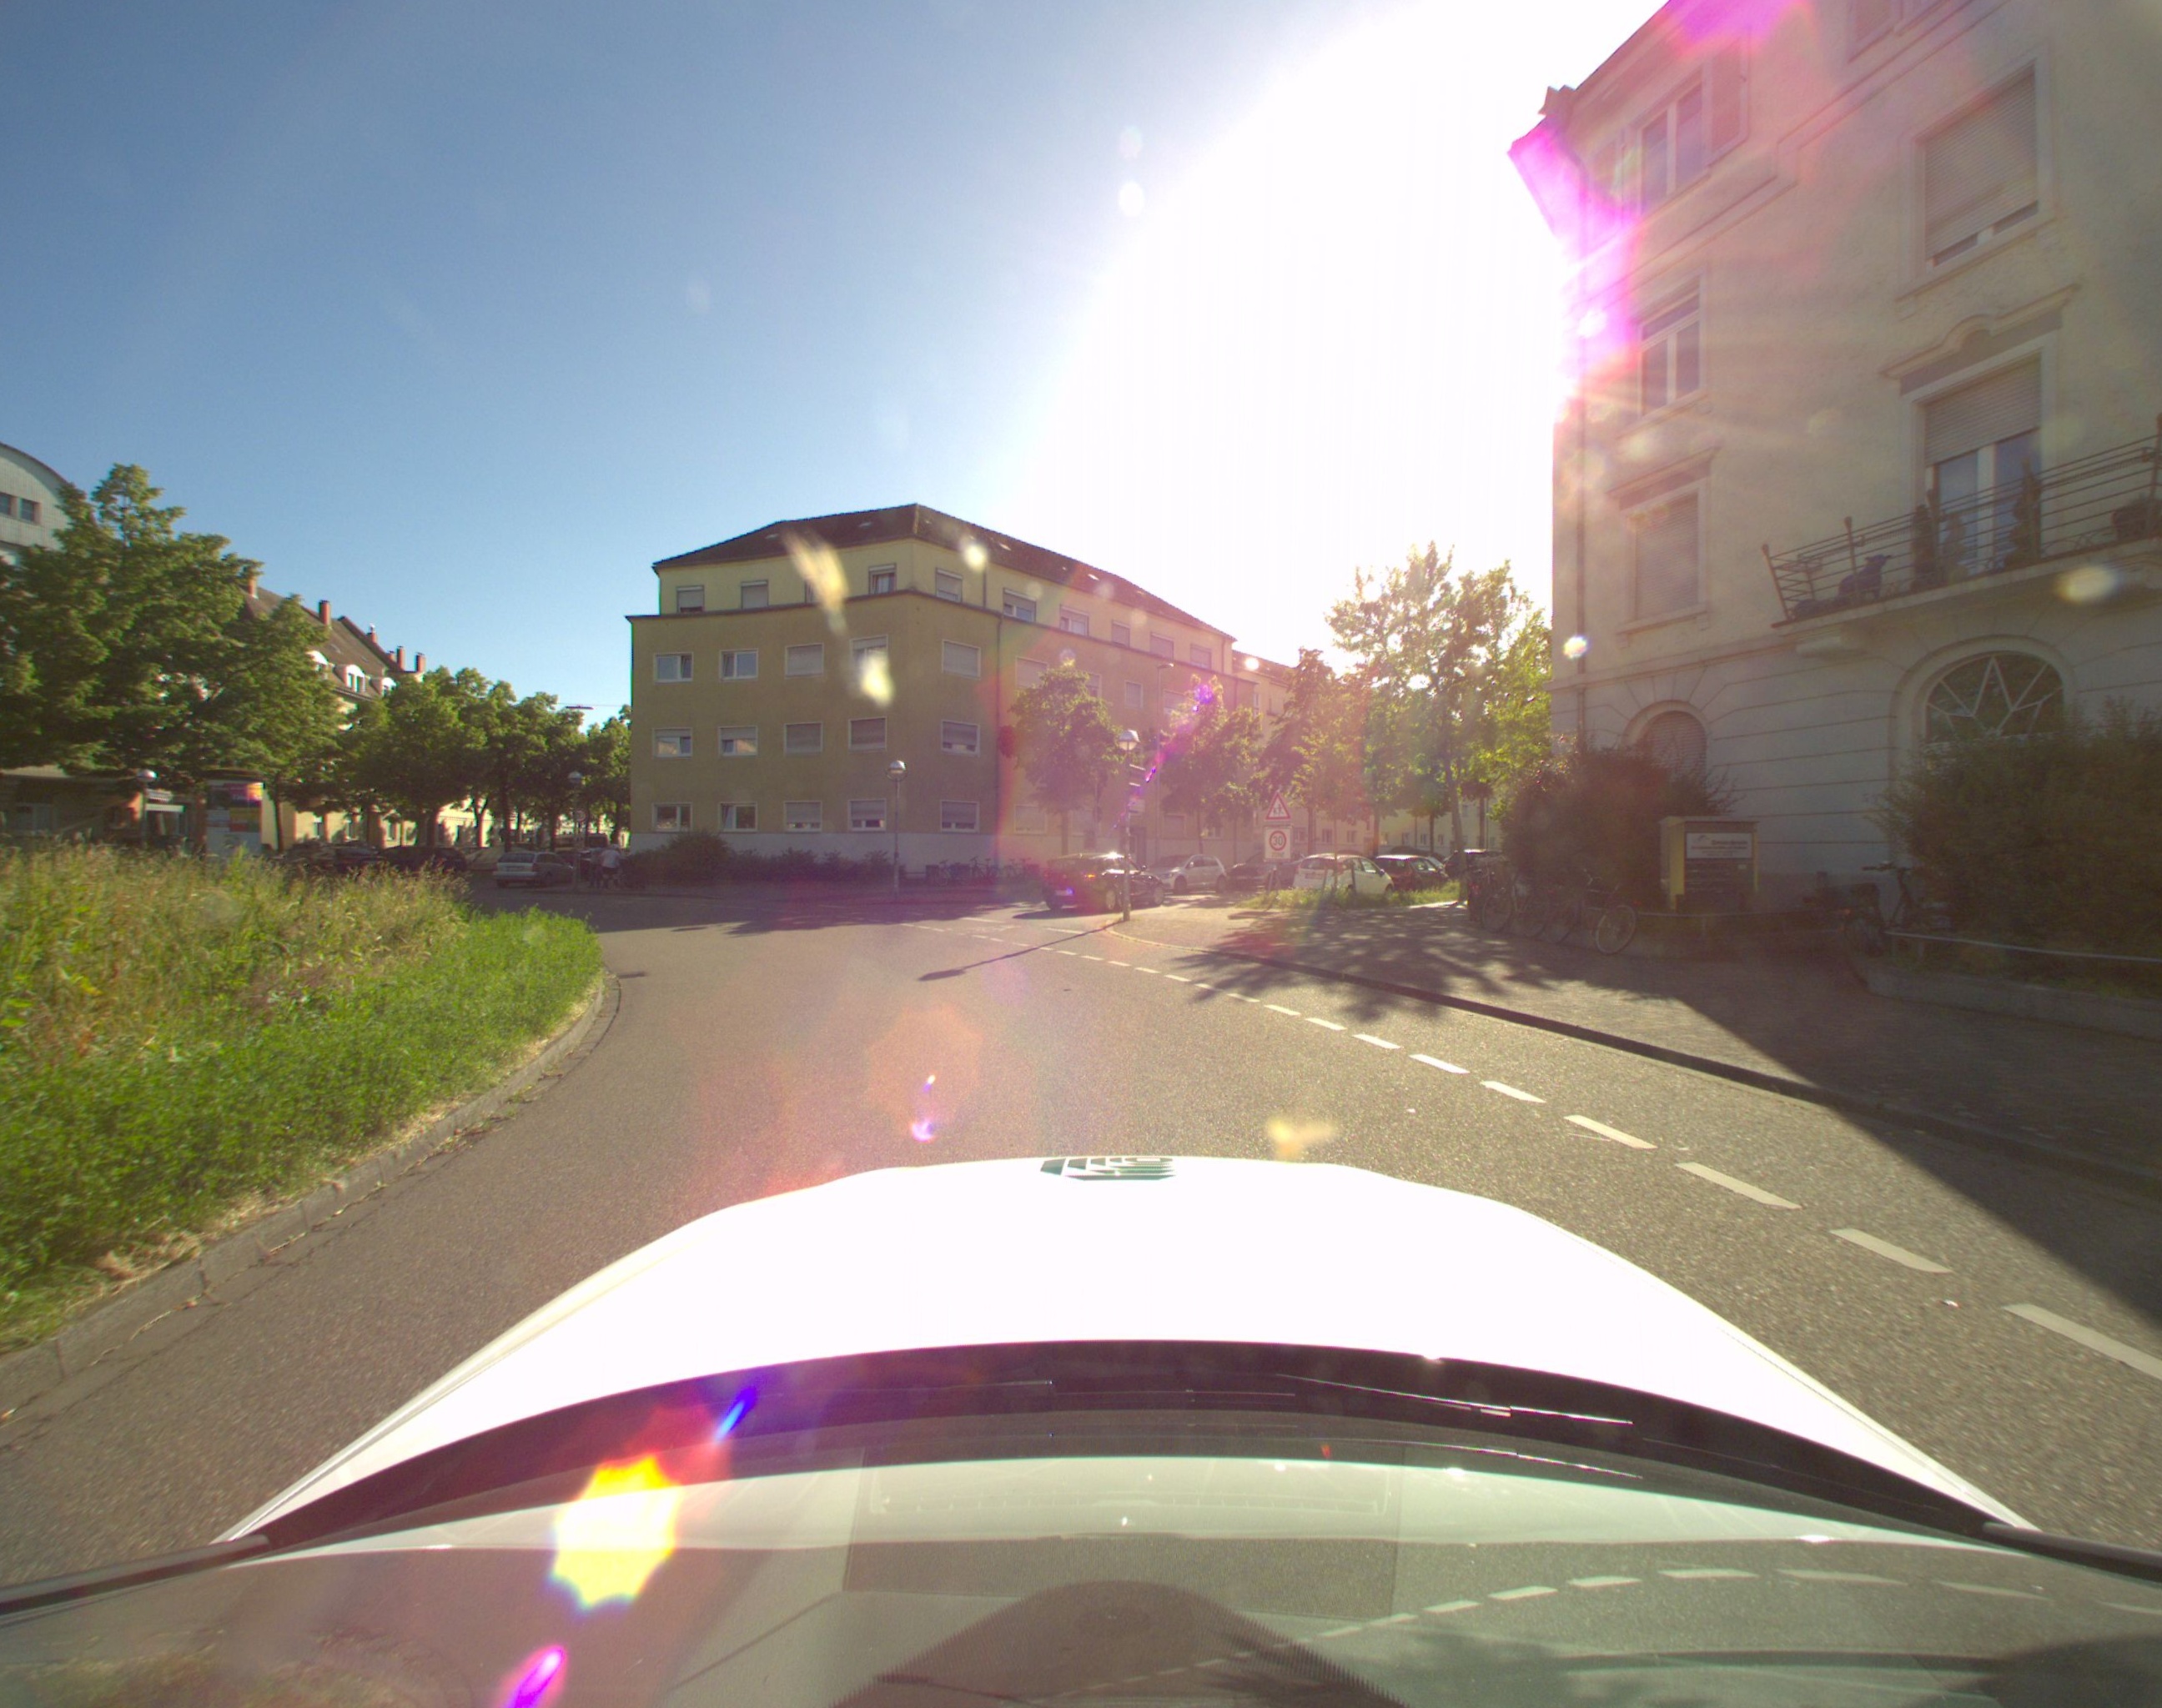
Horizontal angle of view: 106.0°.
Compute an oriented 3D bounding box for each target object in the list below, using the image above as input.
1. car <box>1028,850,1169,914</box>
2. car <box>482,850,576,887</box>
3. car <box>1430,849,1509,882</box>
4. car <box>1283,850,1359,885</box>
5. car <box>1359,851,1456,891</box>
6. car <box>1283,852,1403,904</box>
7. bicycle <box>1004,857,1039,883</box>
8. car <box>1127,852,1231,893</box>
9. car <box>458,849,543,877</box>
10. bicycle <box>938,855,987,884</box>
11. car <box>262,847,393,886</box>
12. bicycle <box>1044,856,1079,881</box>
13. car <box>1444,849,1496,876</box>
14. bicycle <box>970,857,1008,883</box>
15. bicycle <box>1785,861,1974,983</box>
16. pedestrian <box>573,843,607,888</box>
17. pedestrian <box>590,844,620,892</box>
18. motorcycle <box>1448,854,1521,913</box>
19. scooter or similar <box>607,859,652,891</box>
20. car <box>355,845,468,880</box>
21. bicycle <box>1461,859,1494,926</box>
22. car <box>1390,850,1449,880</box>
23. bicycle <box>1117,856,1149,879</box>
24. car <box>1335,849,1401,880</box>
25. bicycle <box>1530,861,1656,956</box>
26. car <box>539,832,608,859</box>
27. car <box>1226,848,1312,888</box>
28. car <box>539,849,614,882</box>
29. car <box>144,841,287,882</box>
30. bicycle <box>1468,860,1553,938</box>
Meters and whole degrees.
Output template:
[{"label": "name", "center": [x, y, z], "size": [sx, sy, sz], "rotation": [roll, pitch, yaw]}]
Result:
[{"label": "car", "center": [0.556, 0.619, 20.761], "size": [1.847, 1.419, 4.025], "rotation": [1, 1, 31]}, {"label": "car", "center": [-22.051, 0.549, 32.735], "size": [1.730, 1.411, 4.466], "rotation": [0, 0, -15]}, {"label": "car", "center": [15.600, 0.437, 32.635], "size": [1.777, 1.255, 3.741], "rotation": [-1, -1, 44]}, {"label": "car", "center": [10.986, 0.605, 37.103], "size": [1.777, 1.510, 4.024], "rotation": [-1, -1, 42]}, {"label": "car", "center": [11.100, 0.535, 27.606], "size": [1.777, 1.255, 3.741], "rotation": [-1, -1, 44]}, {"label": "car", "center": [7.863, 0.670, 24.273], "size": [4.023, 1.413, 1.778], "rotation": [0, 0, -45]}, {"label": "bicycle", "center": [-2.400, 0.621, 32.961], "size": [0.494, 1.026, 1.458], "rotation": [0, 0, 44]}, {"label": "car", "center": [3.633, 0.645, 29.689], "size": [1.781, 1.411, 4.024], "rotation": [0, -1, 42]}, {"label": "car", "center": [-34.292, 0.531, 48.156], "size": [3.669, 1.637, 1.729], "rotation": [0, -1, -7]}, {"label": "bicycle", "center": [-4.474, 0.581, 30.829], "size": [1.796, 1.107, 0.498], "rotation": [0, 0, -14]}, {"label": "car", "center": [-30.951, 0.502, 33.537], "size": [3.663, 1.546, 1.731], "rotation": [0, -1, -2]}, {"label": "bicycle", "center": [-0.841, 0.609, 34.558], "size": [1.455, 1.026, 0.495], "rotation": [0, 0, -33]}, {"label": "car", "center": [23.657, 0.491, 49.426], "size": [1.777, 1.576, 4.024], "rotation": [-1, -1, 42]}, {"label": "bicycle", "center": [-3.599, 0.623, 31.878], "size": [1.447, 1.026, 0.498], "rotation": [0, 0, -14]}, {"label": "bicycle", "center": [7.908, 0.641, 8.072], "size": [1.678, 1.107, 0.498], "rotation": [-1, 0, -13]}, {"label": "pedestrian", "center": [-17.040, 0.389, 28.266], "size": [0.826, 1.523, 0.693], "rotation": [-2, 1, -19]}, {"label": "pedestrian", "center": [-15.605, 0.449, 26.715], "size": [0.649, 1.523, 0.694], "rotation": [-2, 1, -15]}, {"label": "motorcycle", "center": [8.631, 0.619, 17.411], "size": [1.498, 1.191, 0.877], "rotation": [-1, -2, -43]}, {"label": "scooter or similar", "center": [-14.834, 0.684, 26.801], "size": [0.910, 1.023, 0.900], "rotation": [-1, 1, 5]}, {"label": "car", "center": [-30.929, 0.392, 37.709], "size": [3.669, 1.546, 1.729], "rotation": [0, -1, -7]}, {"label": "bicycle", "center": [7.214, 0.664, 14.850], "size": [0.494, 1.107, 1.962], "rotation": [-1, 0, 25]}, {"label": "car", "center": [18.739, 0.599, 45.037], "size": [1.777, 1.576, 4.024], "rotation": [-1, -1, 42]}, {"label": "bicycle", "center": [2.371, 0.605, 37.291], "size": [1.455, 1.026, 0.495], "rotation": [0, 0, -33]}, {"label": "car", "center": [14.564, 0.507, 41.195], "size": [1.777, 1.510, 4.024], "rotation": [-1, -1, 42]}, {"label": "bicycle", "center": [6.677, 0.669, 10.732], "size": [0.497, 1.107, 1.799], "rotation": [-1, 0, -1]}, {"label": "car", "center": [-37.809, -0.614, 60.663], "size": [4.151, 1.988, 2.183], "rotation": [0, -1, 19]}, {"label": "car", "center": [7.905, 0.566, 33.972], "size": [1.777, 1.576, 4.024], "rotation": [-1, -1, 42]}, {"label": "car", "center": [-23.301, 0.528, 37.795], "size": [1.733, 1.439, 4.365], "rotation": [0, 0, -15]}, {"label": "car", "center": [-33.327, 0.301, 31.421], "size": [3.659, 1.546, 1.733], "rotation": [0, -1, 2]}, {"label": "bicycle", "center": [6.623, 0.657, 12.656], "size": [0.496, 1.107, 1.803], "rotation": [-1, 0, 5]}]
